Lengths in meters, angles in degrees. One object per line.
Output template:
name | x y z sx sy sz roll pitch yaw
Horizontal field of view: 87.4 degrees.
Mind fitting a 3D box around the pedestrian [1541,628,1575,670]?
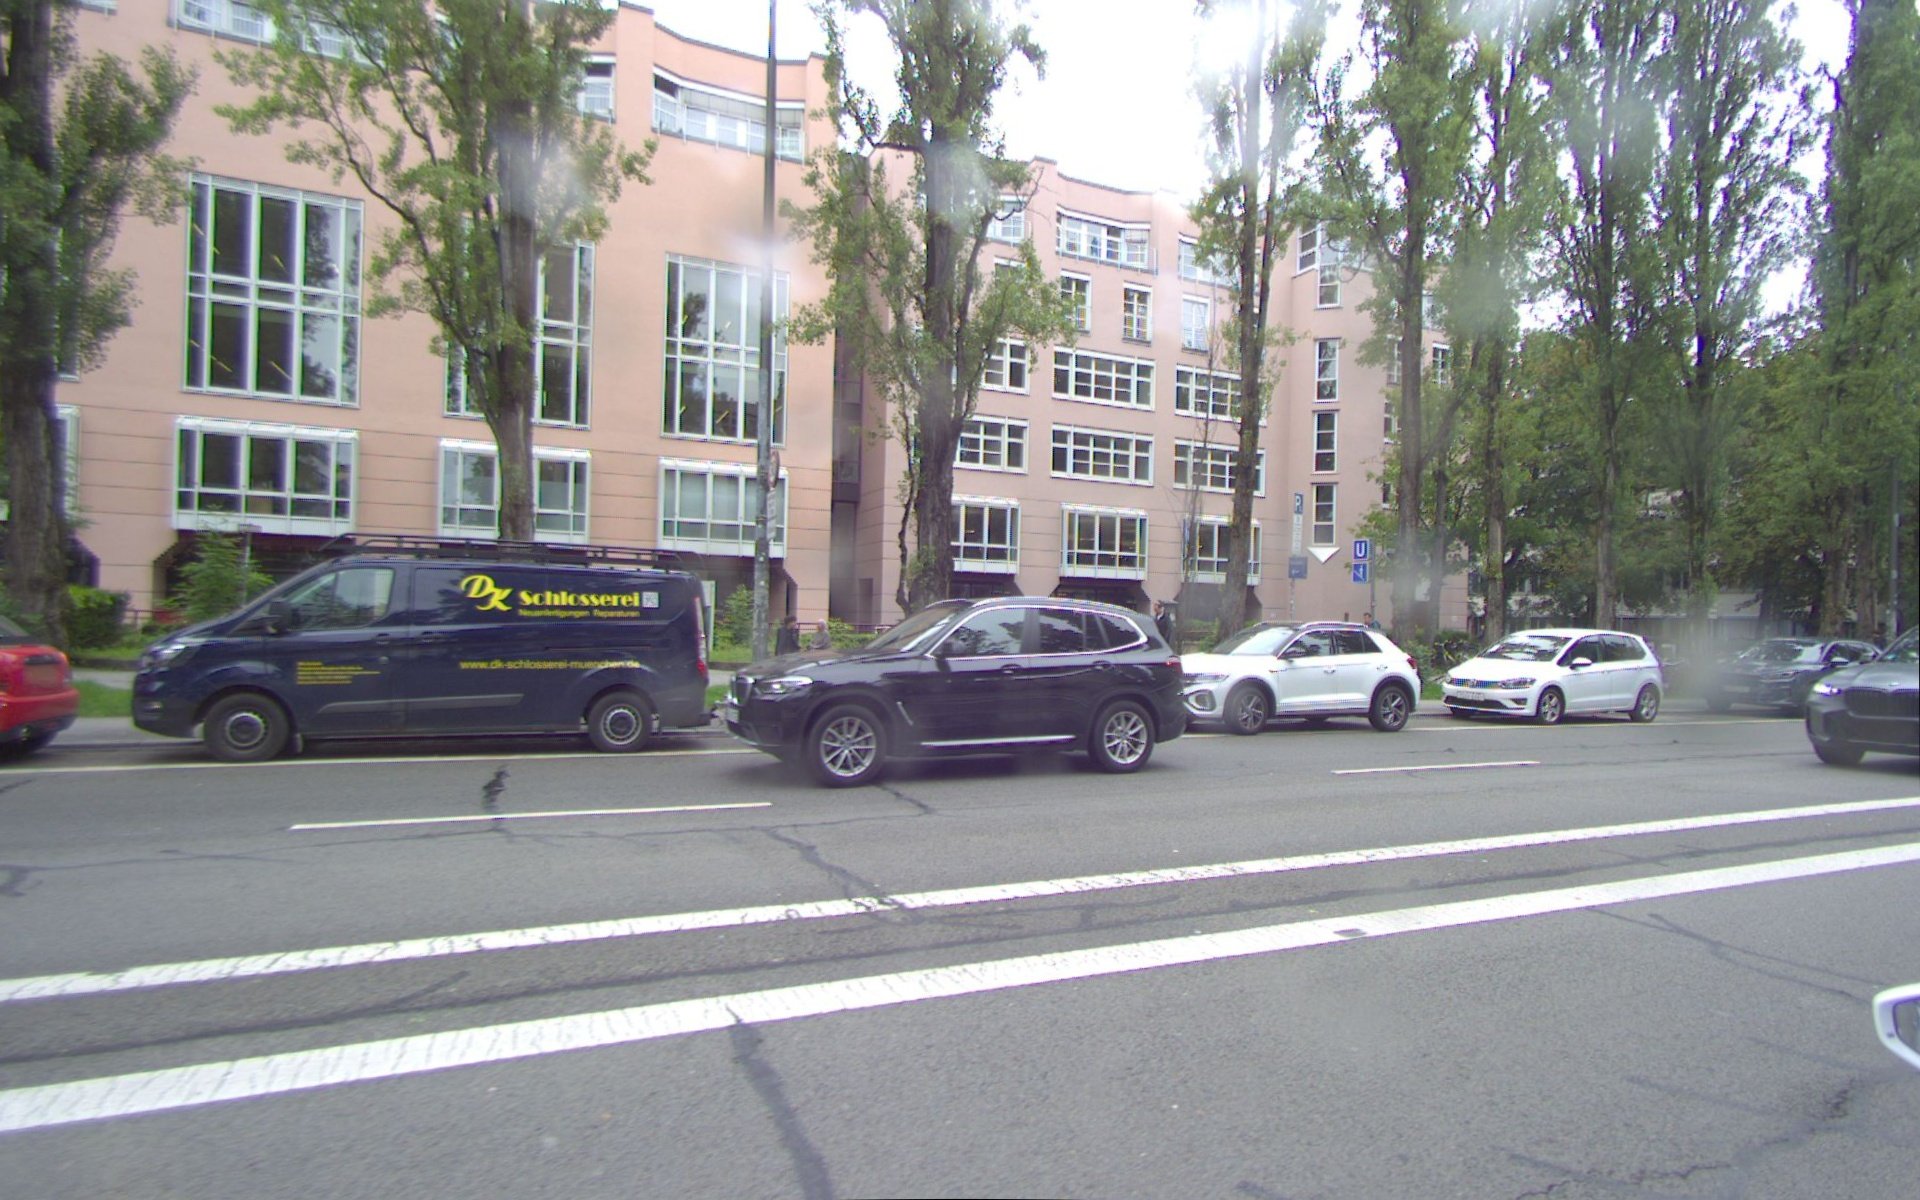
pedestrian | 24.499 2.007 41.171 0.884 1.684 0.813 2 -1 -23

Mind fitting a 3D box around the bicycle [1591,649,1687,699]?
bicycle | 17.228 1.866 25.552 0.666 1.139 1.978 1 -1 -23

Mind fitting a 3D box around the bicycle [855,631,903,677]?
bicycle | -2.184 1.413 26.798 0.666 1.139 1.978 1 -1 -23

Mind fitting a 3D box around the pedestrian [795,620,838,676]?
pedestrian | -3.196 1.070 22.409 0.695 1.203 0.732 1 -1 15

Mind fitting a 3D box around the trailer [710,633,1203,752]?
trailer | -0.020 1.114 13.050 5.953 1.215 2.391 2 -1 -23

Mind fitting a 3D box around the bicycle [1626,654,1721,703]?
bicycle | 18.587 2.024 26.220 0.666 1.139 1.978 1 -1 -23

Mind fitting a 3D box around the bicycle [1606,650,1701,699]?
bicycle | 17.899 1.908 25.976 0.666 1.139 1.978 1 -1 -23

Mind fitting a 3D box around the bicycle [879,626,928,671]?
bicycle | -1.540 1.292 27.106 0.666 1.139 1.978 1 -1 -23

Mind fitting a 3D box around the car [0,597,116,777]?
car | -9.763 0.668 8.351 3.816 1.468 1.670 2 -1 -22

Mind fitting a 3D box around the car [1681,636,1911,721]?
car | 17.407 1.594 20.923 4.264 1.562 1.989 2 -1 -23

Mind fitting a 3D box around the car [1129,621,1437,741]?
car | 4.763 1.138 14.819 4.173 1.562 1.797 1 -2 -22

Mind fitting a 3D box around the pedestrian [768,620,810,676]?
pedestrian | -3.763 1.052 22.068 0.722 1.203 0.704 2 -1 -26

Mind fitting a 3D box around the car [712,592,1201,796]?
car | -0.029 0.843 10.045 4.488 1.664 1.989 2 -2 -24

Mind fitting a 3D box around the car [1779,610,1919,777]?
car | 12.046 1.061 11.721 4.694 1.739 1.988 2 -2 -24

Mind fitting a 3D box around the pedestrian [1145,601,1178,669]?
pedestrian | 4.926 0.853 24.591 0.646 1.626 0.558 1 -1 -4

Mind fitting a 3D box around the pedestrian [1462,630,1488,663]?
pedestrian | 26.781 2.395 52.280 0.884 1.684 0.813 2 -1 -23

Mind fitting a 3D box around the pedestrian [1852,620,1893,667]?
pedestrian | 33.710 1.597 37.115 0.884 1.684 0.813 2 -1 -23

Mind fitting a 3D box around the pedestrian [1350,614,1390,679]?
pedestrian | 11.222 1.259 27.510 0.721 1.736 0.705 2 -1 -23

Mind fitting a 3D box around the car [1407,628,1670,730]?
car | 10.187 1.328 17.668 4.268 1.562 1.987 2 -1 -27

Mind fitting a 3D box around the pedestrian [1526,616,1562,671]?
pedestrian | 18.948 1.415 32.592 0.721 1.736 0.705 2 -1 -23

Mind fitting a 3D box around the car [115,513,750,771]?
car | -5.172 0.450 10.696 5.421 2.226 2.012 2 -1 -24
